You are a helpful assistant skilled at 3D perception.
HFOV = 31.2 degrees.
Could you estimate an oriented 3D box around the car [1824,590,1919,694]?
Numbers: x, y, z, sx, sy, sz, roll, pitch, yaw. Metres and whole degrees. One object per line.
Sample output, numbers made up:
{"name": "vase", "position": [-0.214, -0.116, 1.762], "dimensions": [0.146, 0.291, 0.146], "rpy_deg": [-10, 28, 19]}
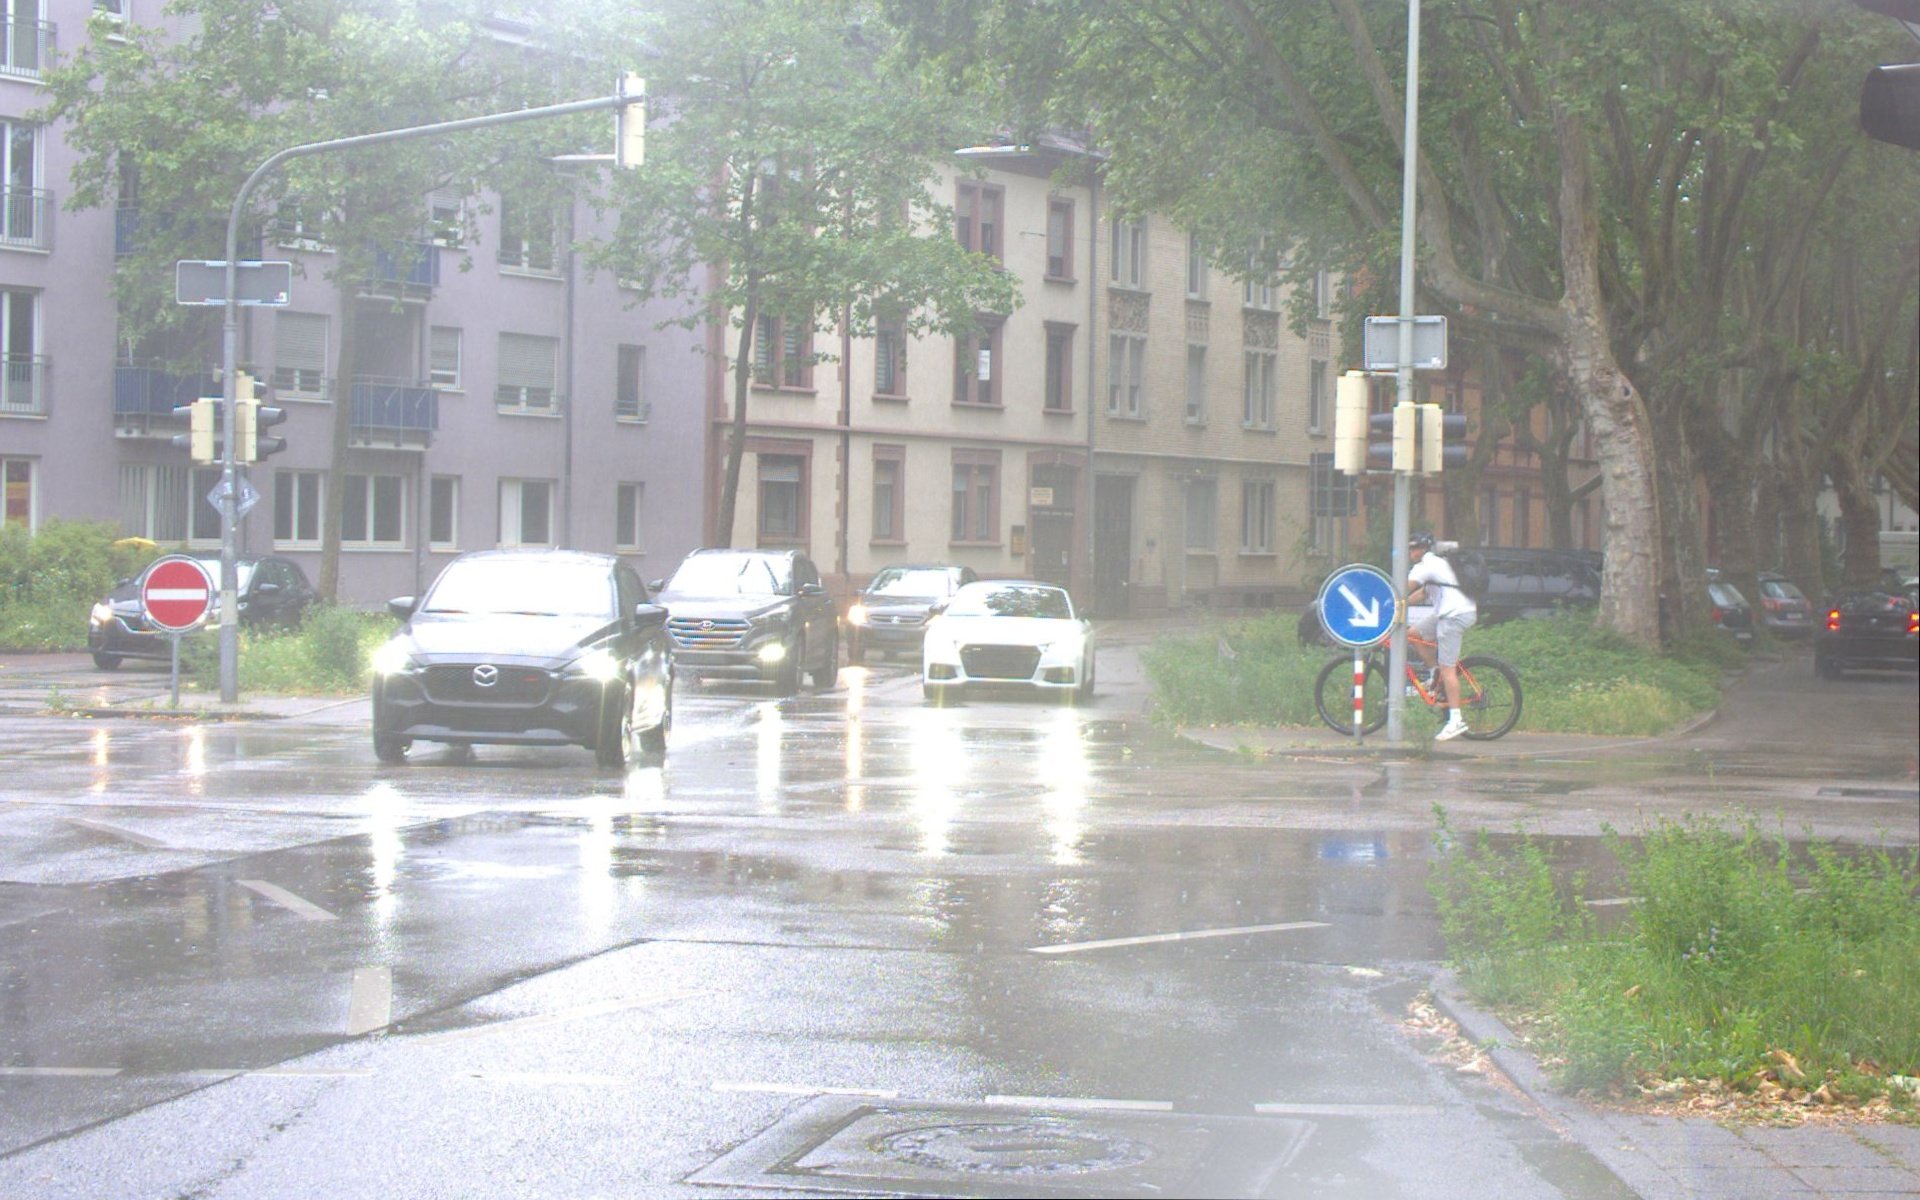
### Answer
{"name": "car", "position": [14.068, 0.603, 51.655], "dimensions": [1.683, 1.469, 3.659], "rpy_deg": [1, 1, 20]}

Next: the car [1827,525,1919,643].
{"name": "car", "position": [24.393, -0.419, 87.716], "dimensions": [2.033, 2.938, 4.773], "rpy_deg": [1, 1, -21]}

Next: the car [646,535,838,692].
{"name": "car", "position": [-2.486, 0.104, 40.185], "dimensions": [1.803, 1.677, 4.603], "rpy_deg": [1, 1, 1]}

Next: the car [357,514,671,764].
{"name": "car", "position": [-3.060, 0.212, 24.331], "dimensions": [1.751, 1.586, 4.235], "rpy_deg": [1, 1, -2]}

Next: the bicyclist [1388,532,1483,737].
{"name": "bicyclist", "position": [4.195, 0.294, 30.363], "dimensions": [0.795, 1.780, 0.697], "rpy_deg": [1, 0, 8]}

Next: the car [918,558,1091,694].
{"name": "car", "position": [0.539, 0.261, 39.984], "dimensions": [1.884, 1.431, 4.000], "rpy_deg": [1, 1, 1]}

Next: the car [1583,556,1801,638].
{"name": "car", "position": [13.934, -0.064, 65.484], "dimensions": [3.989, 1.481, 1.999], "rpy_deg": [1, 1, 12]}

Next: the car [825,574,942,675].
{"name": "car", "position": [-1.167, 0.351, 52.759], "dimensions": [1.714, 1.454, 3.748], "rpy_deg": [1, 1, -1]}

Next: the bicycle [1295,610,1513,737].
{"name": "bicycle", "position": [3.921, 0.641, 30.401], "dimensions": [1.873, 1.077, 0.657], "rpy_deg": [1, 0, 8]}

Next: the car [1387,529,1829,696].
{"name": "car", "position": [6.167, 0.099, 32.704], "dimensions": [3.989, 1.481, 1.999], "rpy_deg": [1, 1, 12]}

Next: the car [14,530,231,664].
{"name": "car", "position": [-10.047, -0.072, 41.498], "dimensions": [1.751, 1.506, 3.839], "rpy_deg": [1, 1, -2]}
